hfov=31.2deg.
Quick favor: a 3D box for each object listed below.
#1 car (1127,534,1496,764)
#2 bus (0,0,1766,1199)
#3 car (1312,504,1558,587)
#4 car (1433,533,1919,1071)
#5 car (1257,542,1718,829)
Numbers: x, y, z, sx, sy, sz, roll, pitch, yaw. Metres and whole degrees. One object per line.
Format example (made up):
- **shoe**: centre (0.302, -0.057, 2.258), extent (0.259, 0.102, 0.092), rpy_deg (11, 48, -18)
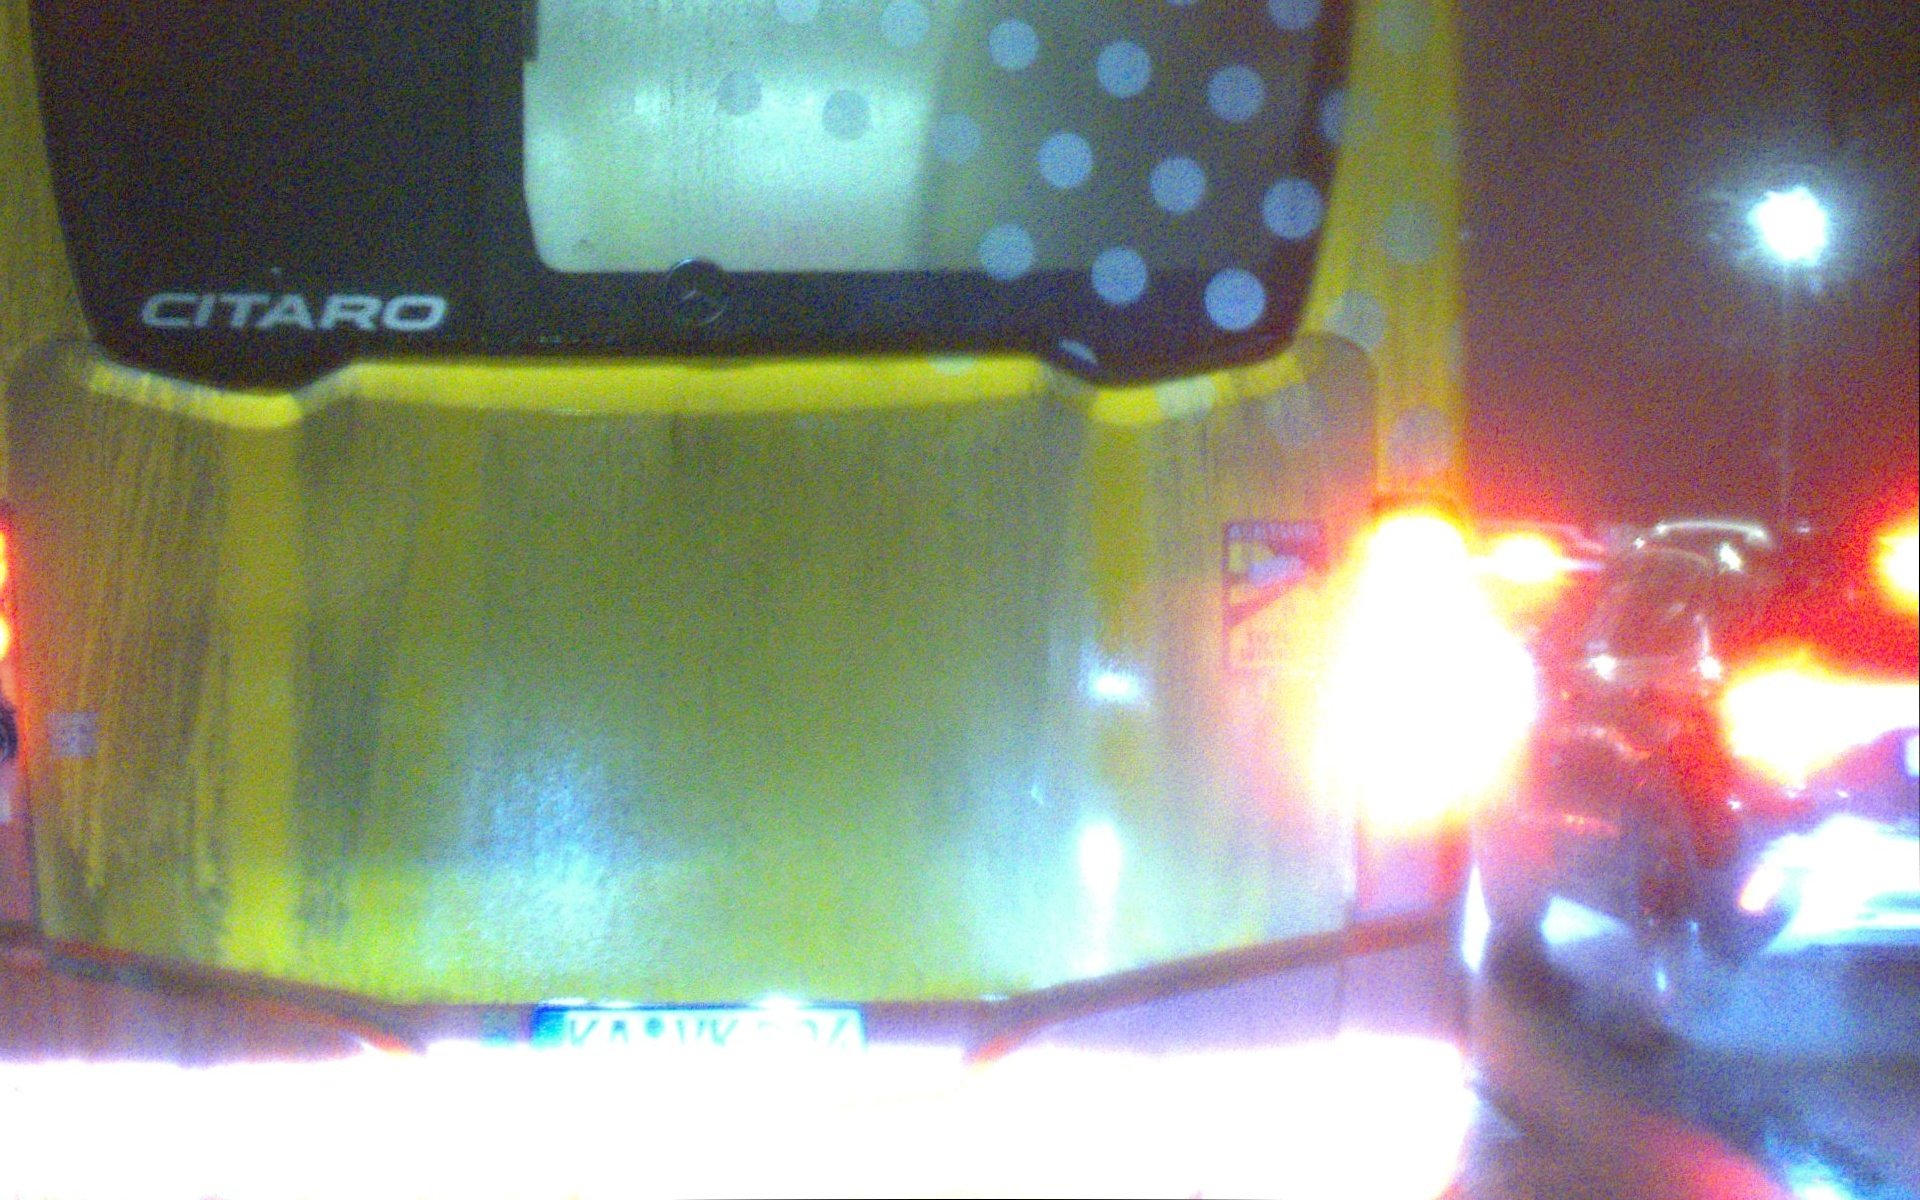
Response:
- **car**: centre (2.339, 0.292, 23.902), extent (1.993, 1.436, 4.000), rpy_deg (1, 1, -2)
- **bus**: centre (-0.630, -0.313, 9.830), extent (3.285, 3.039, 9.546), rpy_deg (0, 2, -2)
- **car**: centre (9.459, -1.095, 68.594), extent (4.482, 1.513, 1.858), rpy_deg (1, 3, -8)
- **car**: centre (2.837, 0.558, 11.733), extent (1.677, 1.516, 3.961), rpy_deg (1, 1, -3)
- **car**: centre (2.638, 0.369, 18.036), extent (1.686, 1.326, 3.961), rpy_deg (-1, 1, -2)
